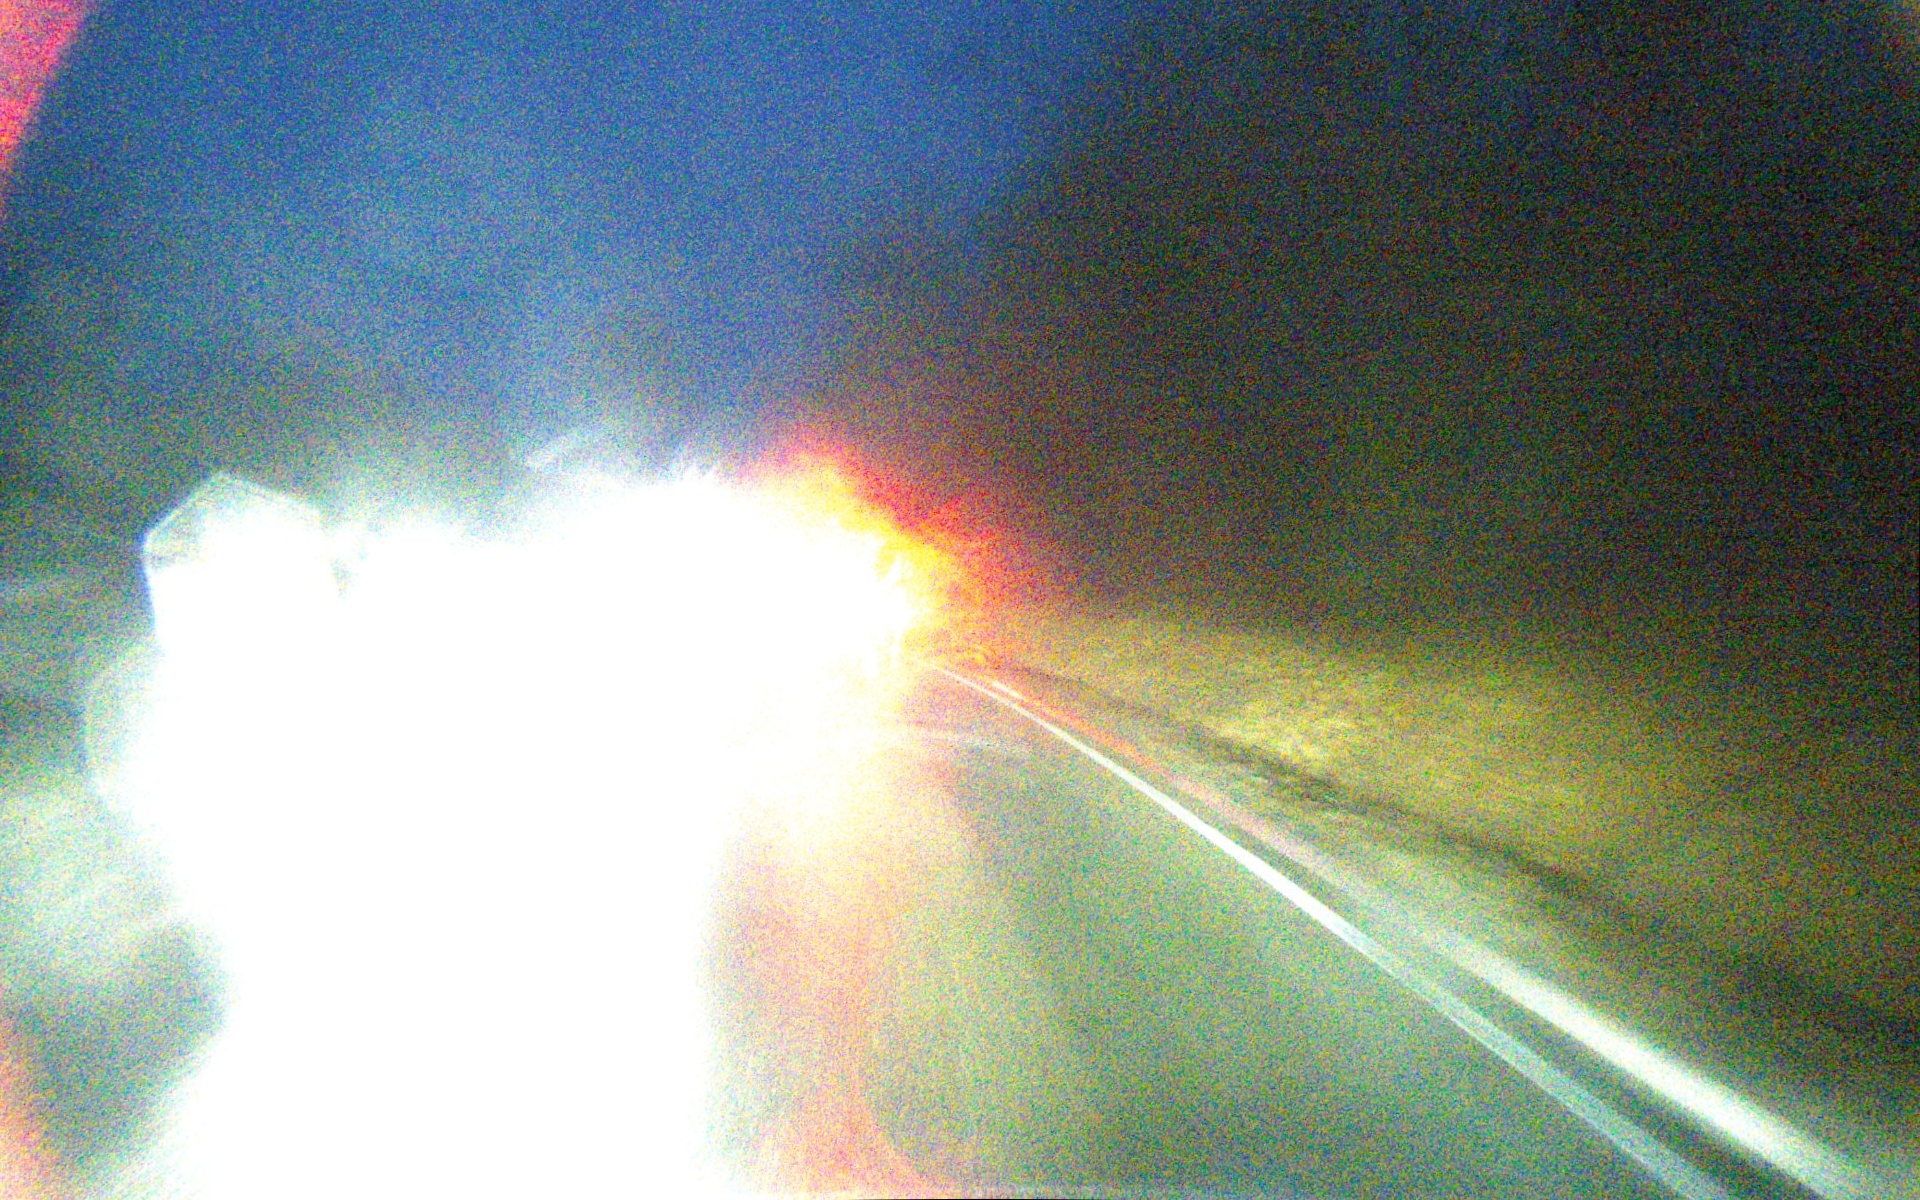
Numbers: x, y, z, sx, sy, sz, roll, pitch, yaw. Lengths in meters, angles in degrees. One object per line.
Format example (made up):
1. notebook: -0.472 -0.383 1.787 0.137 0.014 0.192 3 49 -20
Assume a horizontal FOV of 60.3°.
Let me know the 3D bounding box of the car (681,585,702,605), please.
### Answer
1. car: -24.460 -0.456 150.628 1.723 1.764 3.440 3 0 -12

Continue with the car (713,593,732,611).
1. car: -25.094 0.183 174.843 1.723 1.764 3.770 3 0 -12

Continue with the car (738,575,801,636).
1. car: -7.244 0.241 62.515 1.958 2.049 3.988 3 -3 -11

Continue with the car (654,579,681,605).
1. car: -21.224 -0.577 120.052 1.723 1.764 3.988 3 0 -12

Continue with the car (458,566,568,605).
1. car: -20.581 -0.646 76.373 4.827 1.765 1.993 0 0 -13

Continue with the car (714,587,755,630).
1. car: -10.550 0.414 77.194 1.708 1.744 3.691 3 -3 -9

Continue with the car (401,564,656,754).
1. car: -3.923 0.512 15.644 1.603 1.536 4.091 -1 -1 -4

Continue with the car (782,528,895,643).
1. car: -2.996 -0.311 39.559 2.490 2.542 5.706 0 0 -6

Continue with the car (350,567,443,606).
1. car: -26.835 -0.635 78.729 4.093 1.717 1.682 -1 -1 -23
